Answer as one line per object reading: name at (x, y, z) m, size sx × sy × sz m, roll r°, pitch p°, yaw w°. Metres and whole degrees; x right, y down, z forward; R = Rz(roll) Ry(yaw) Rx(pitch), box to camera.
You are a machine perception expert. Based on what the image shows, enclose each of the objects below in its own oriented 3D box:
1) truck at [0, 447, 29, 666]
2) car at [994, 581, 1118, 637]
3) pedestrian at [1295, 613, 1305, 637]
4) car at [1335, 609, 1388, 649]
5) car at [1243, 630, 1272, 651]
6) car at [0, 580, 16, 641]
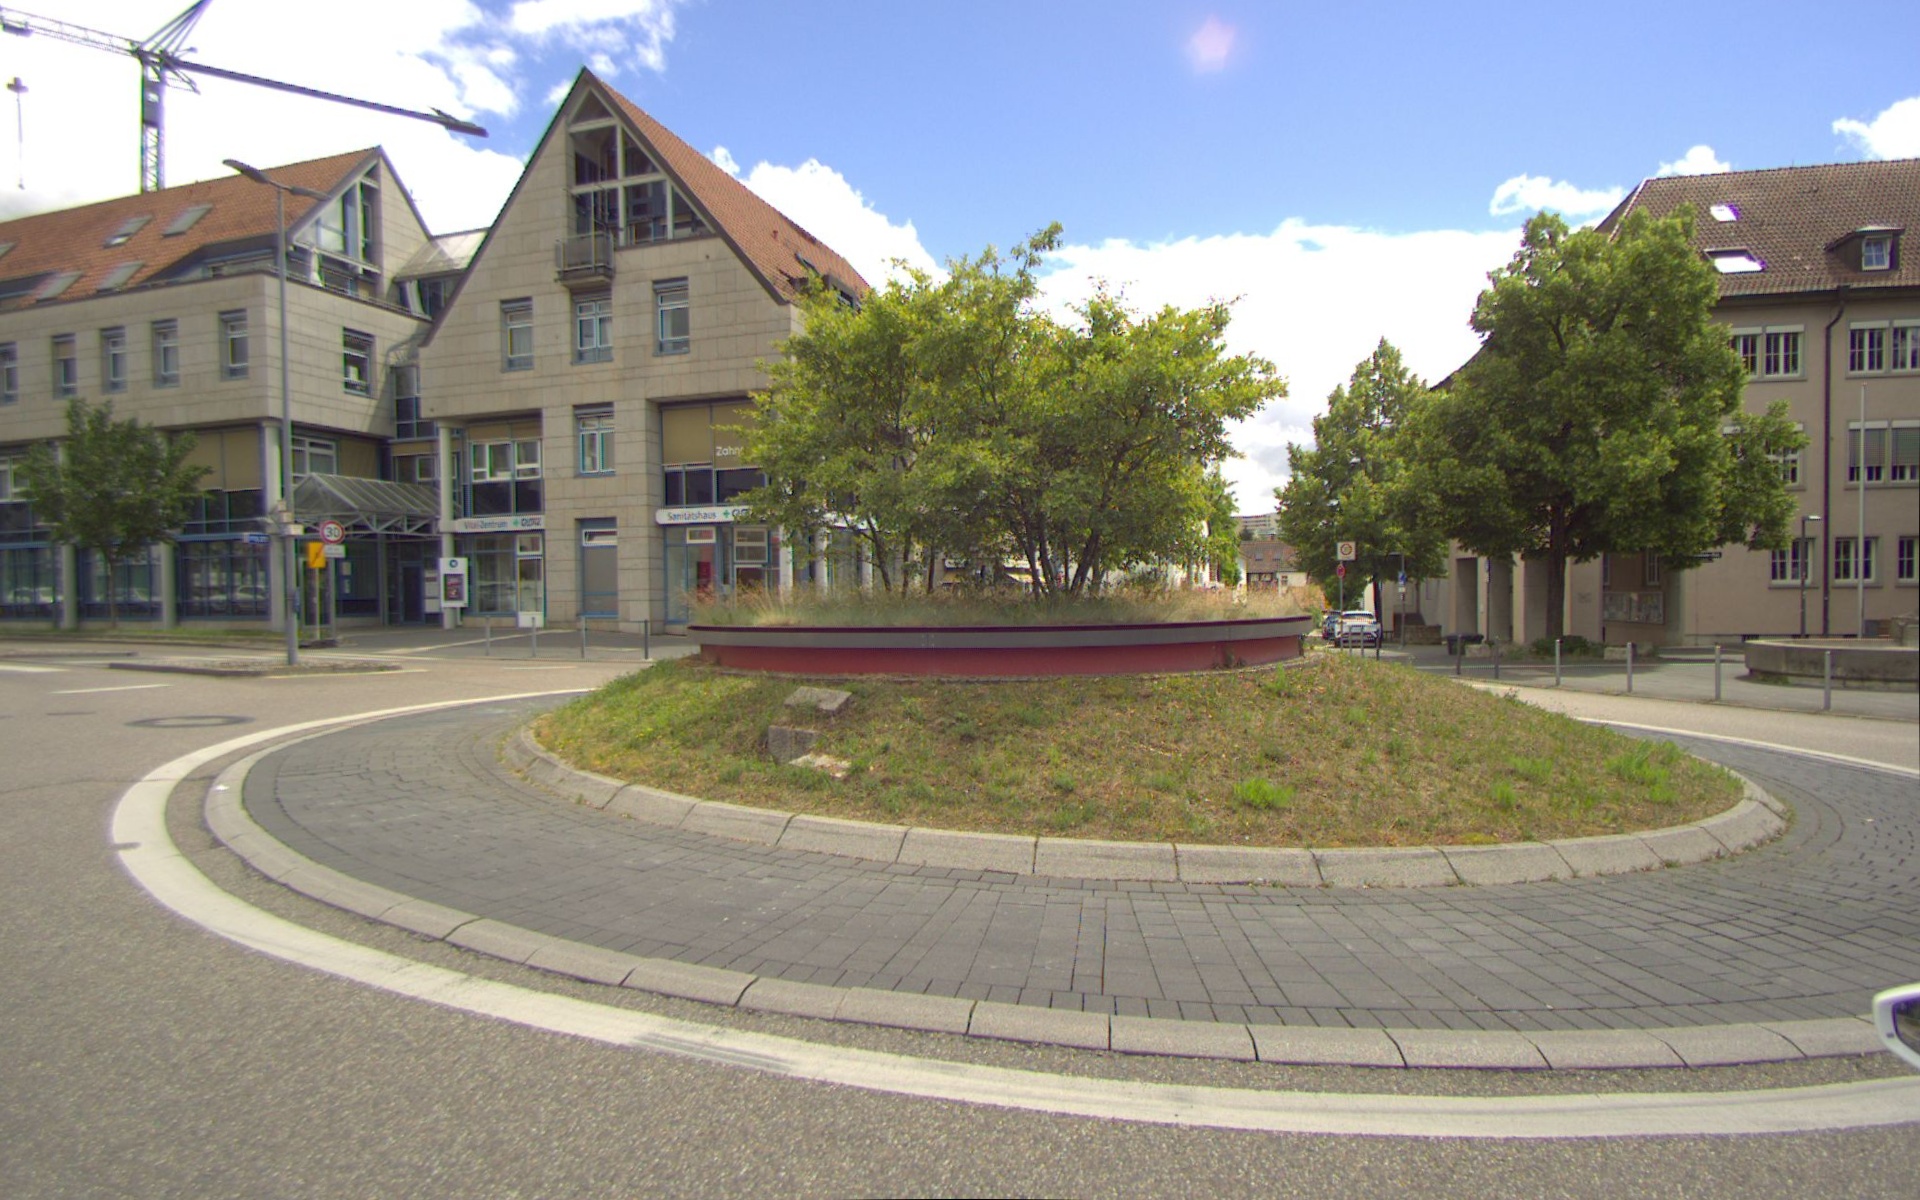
truck at (-23.119, -0.873, 19.710) m, size 10.390 × 4.081 × 2.966 m, roll 1°, pitch -1°, yaw 22°
car at (4.948, 0.469, 51.968) m, size 6.178 × 2.593 × 2.208 m, roll 2°, pitch -2°, yaw 4°
pedestrian at (22.544, 1.638, 66.659) m, size 0.586 × 1.569 × 0.581 m, roll 2°, pitch 1°, yaw 18°
car at (16.745, 1.159, 41.975) m, size 1.945 × 1.551 × 3.999 m, roll 1°, pitch 0°, yaw 22°
car at (20.725, 2.798, 70.067) m, size 1.697 × 1.283 × 4.002 m, roll 1°, pitch 0°, yaw 13°
car at (-27.495, 0.243, 26.995) m, size 4.296 × 1.602 × 1.861 m, roll 0°, pitch -1°, yaw 29°
